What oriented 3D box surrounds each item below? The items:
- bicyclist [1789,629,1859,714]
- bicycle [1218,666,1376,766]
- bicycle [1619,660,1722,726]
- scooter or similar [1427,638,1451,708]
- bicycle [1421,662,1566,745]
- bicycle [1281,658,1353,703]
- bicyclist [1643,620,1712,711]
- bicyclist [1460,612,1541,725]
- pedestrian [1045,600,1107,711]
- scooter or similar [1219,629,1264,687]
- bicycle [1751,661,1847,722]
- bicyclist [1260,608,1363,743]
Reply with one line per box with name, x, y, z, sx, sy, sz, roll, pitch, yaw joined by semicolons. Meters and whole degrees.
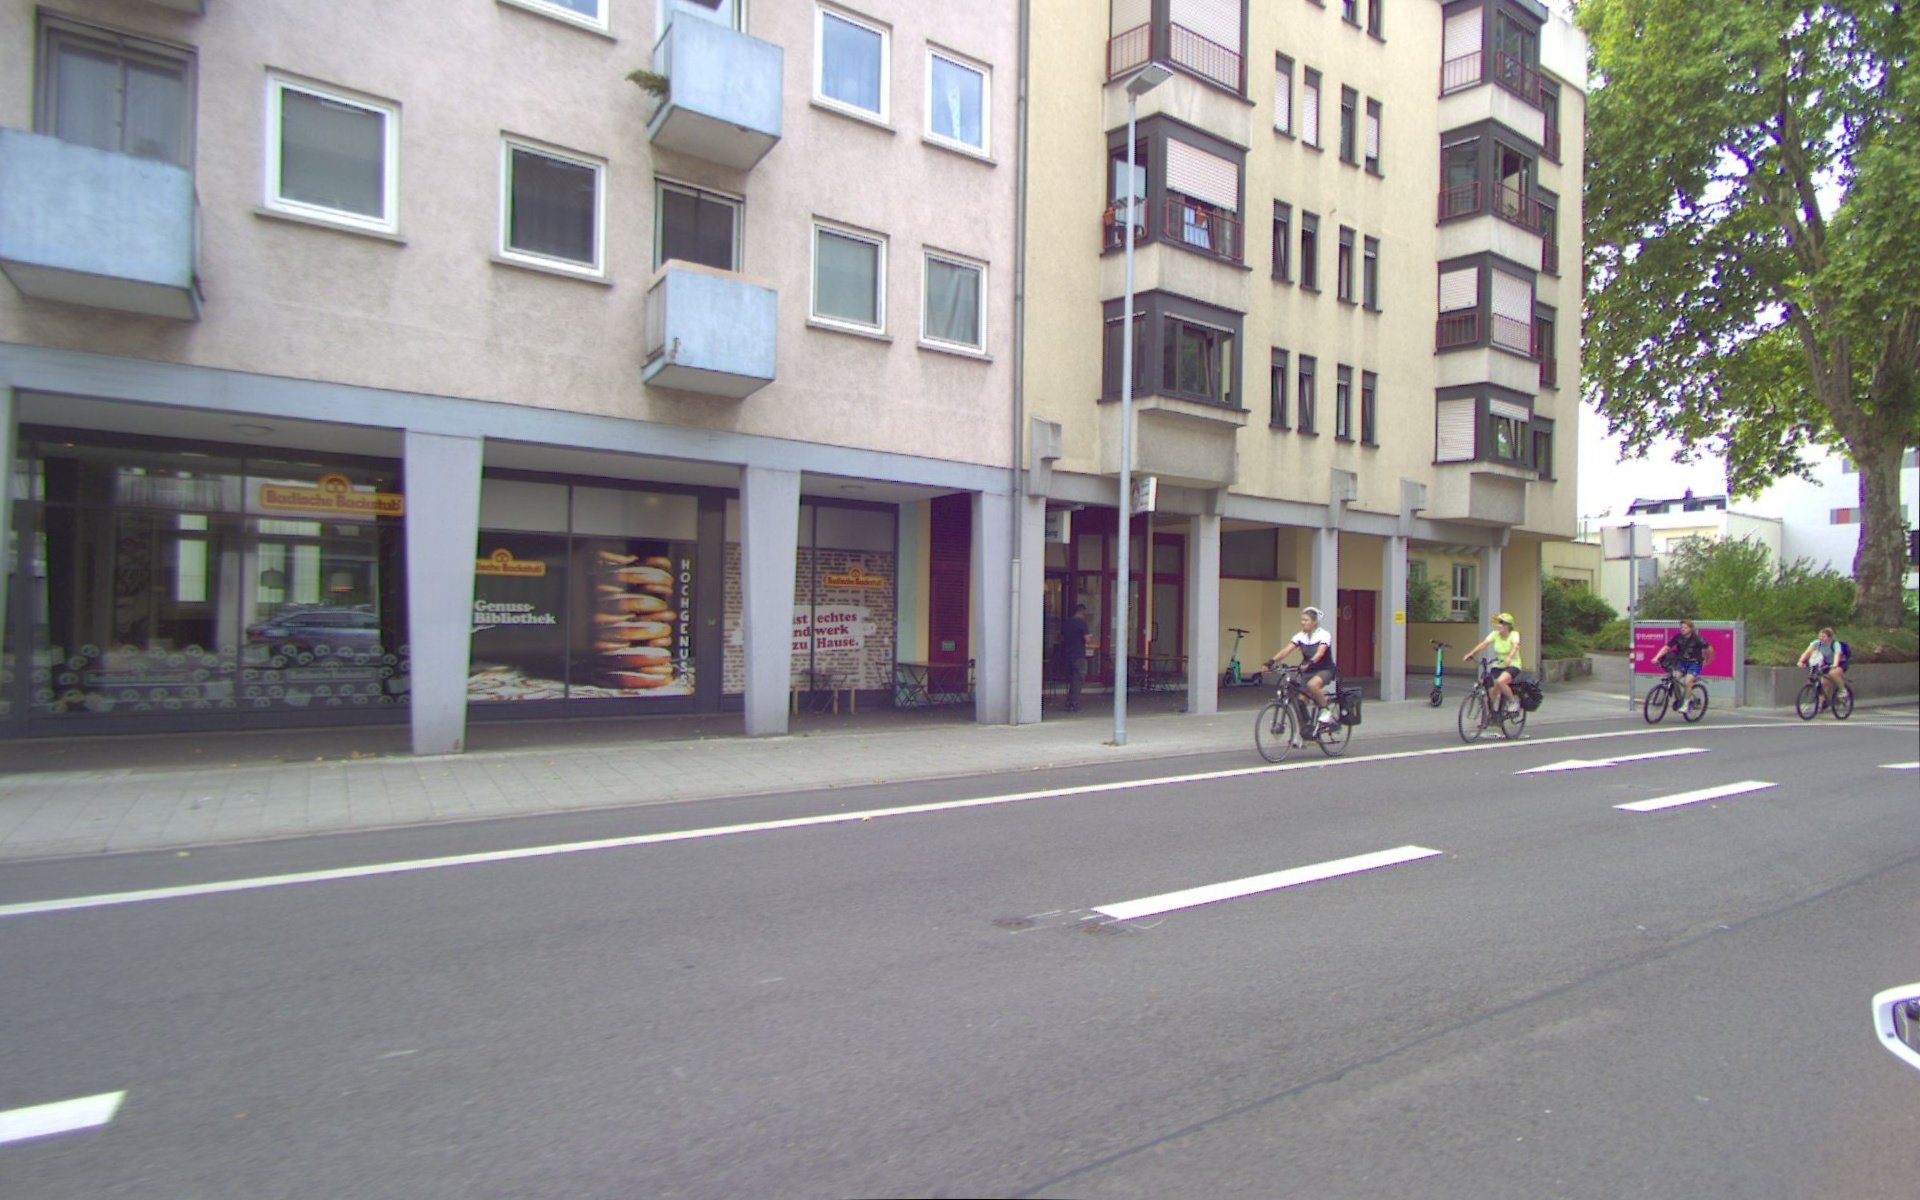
bicyclist;16.628;1.350;19.330;1.063;1.546;0.654;0;2;-29
bicycle;4.087;1.369;12.154;1.886;1.020;0.734;0;1;-29
bicycle;12.603;1.620;17.808;1.953;1.020;0.734;0;1;-31
scooter or similar;9.283;1.395;19.478;0.281;1.281;1.177;1;-1;20
bicycle;7.686;1.451;14.437;2.224;1.020;0.734;0;1;-29
bicycle;6.955;1.552;19.536;1.601;0.832;0.427;2;-1;-33
bicyclist;12.678;1.139;17.758;0.846;1.546;0.654;0;2;-29
bicyclist;7.752;0.957;14.411;0.830;1.546;0.654;0;2;-29
pedestrian;1.930;0.912;16.765;0.776;1.780;0.577;2;1;-33
scooter or similar;6.110;1.243;21.789;1.166;1.218;0.284;0;0;-37
bicycle;16.364;1.763;19.584;2.169;1.020;0.734;0;1;-31
bicyclist;4.244;0.879;12.136;0.990;1.546;0.654;0;2;-29
